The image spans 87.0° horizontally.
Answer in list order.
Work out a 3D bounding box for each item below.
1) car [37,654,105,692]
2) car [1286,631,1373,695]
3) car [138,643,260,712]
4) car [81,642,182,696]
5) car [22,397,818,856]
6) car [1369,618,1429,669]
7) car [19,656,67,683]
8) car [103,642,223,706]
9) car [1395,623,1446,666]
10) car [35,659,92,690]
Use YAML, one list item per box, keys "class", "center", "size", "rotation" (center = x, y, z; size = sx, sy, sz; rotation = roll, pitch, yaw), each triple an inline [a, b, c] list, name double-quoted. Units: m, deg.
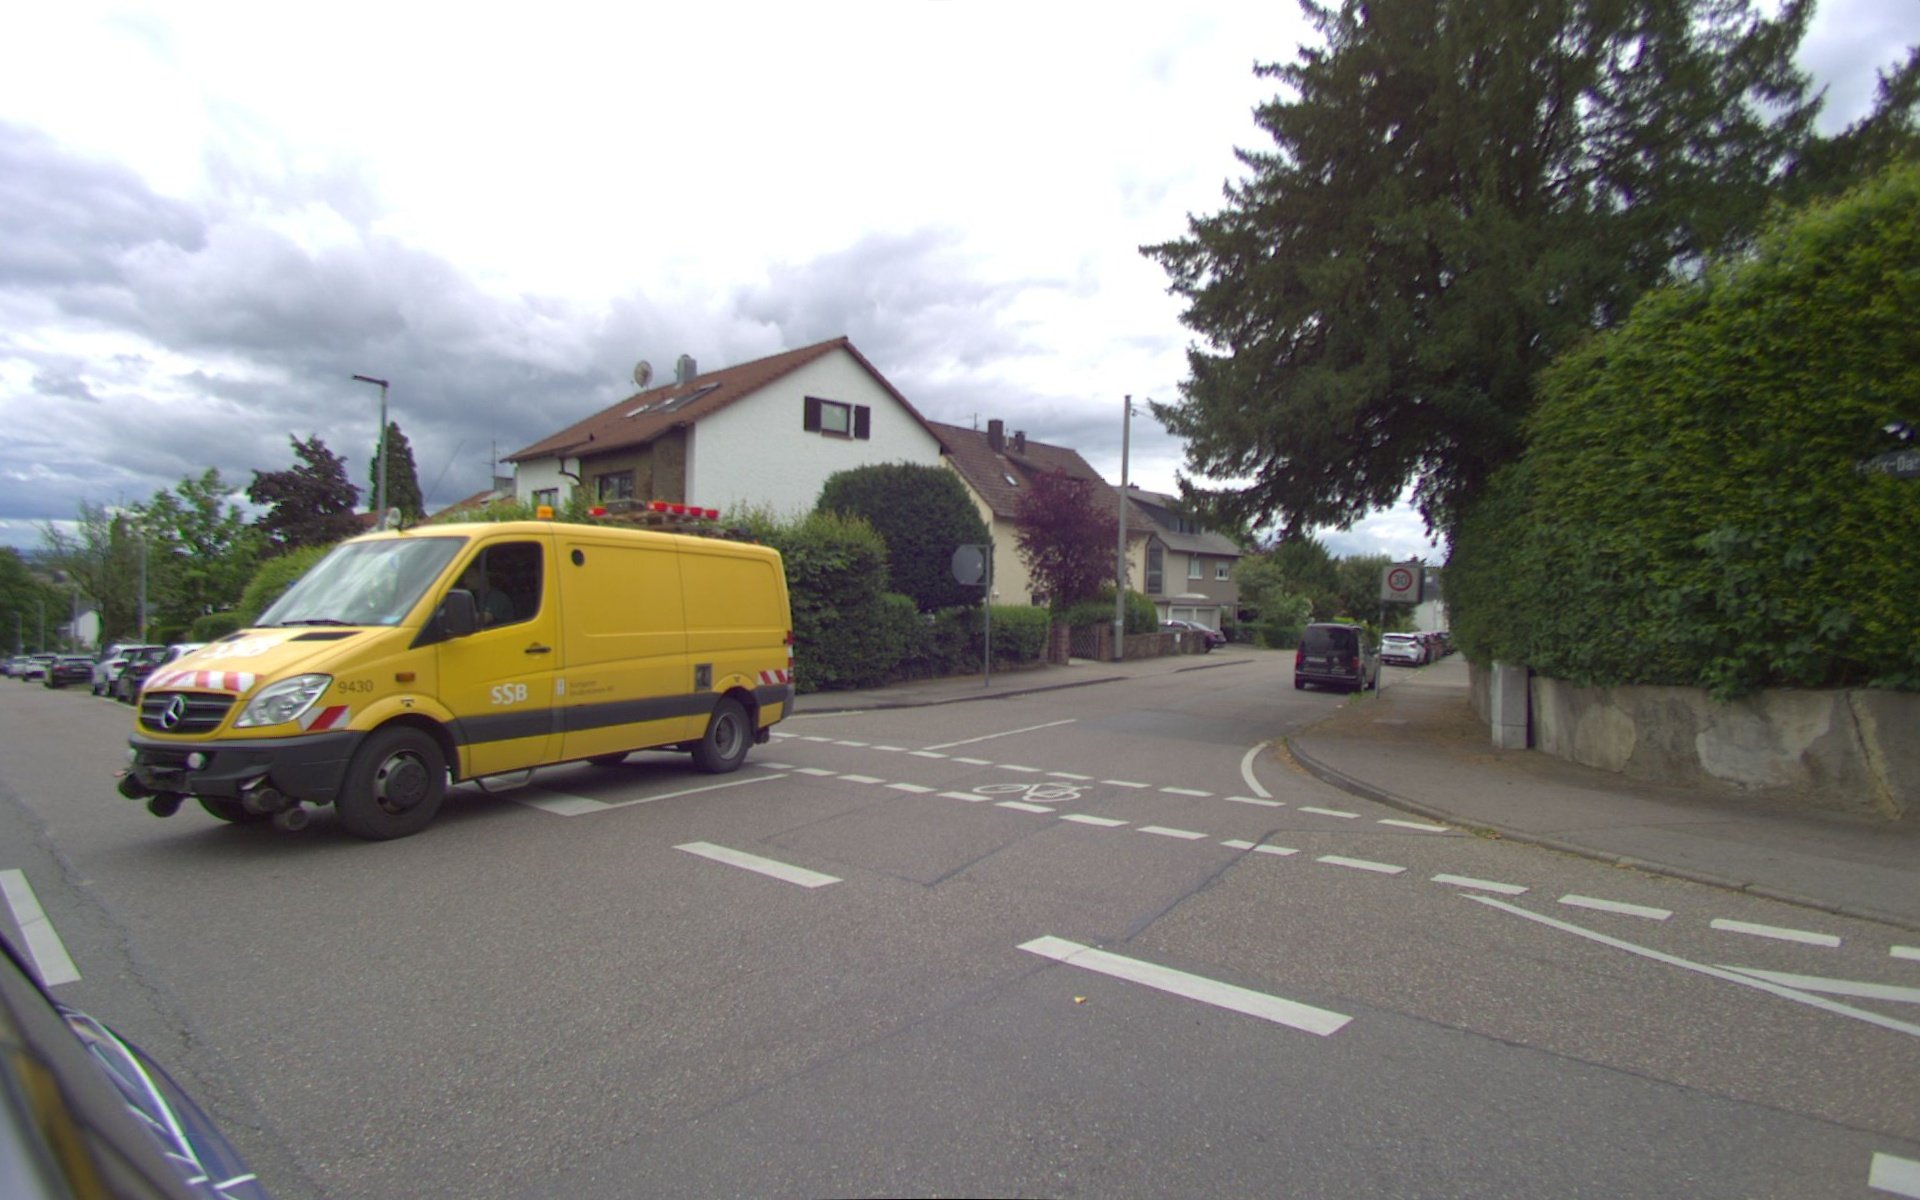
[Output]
- class: "car"
  center: [-38.813, 3.154, 44.169]
  size: [4.007, 1.561, 1.918]
  rotation: [-4, -4, 44]
- class: "car"
  center: [10.306, 1.718, 28.052]
  size: [1.817, 1.637, 4.045]
  rotation: [-2, -3, 26]
- class: "car"
  center: [-17.114, 1.714, 22.706]
  size: [1.670, 1.430, 3.581]
  rotation: [4, -5, -45]
- class: "car"
  center: [-25.010, 2.052, 30.500]
  size: [4.343, 1.501, 1.865]
  rotation: [-4, -4, 44]
- class: "car"
  center: [-3.933, 0.278, 9.049]
  size: [2.354, 2.621, 6.091]
  rotation: [-2, -3, 25]
- class: "car"
  center: [20.002, 1.943, 46.051]
  size: [1.883, 2.029, 3.957]
  rotation: [-3, 0, 31]
- class: "car"
  center: [-55.115, 4.145, 60.783]
  size: [4.002, 1.542, 1.908]
  rotation: [-3, -4, 45]
- class: "car"
  center: [-20.625, 1.873, 26.110]
  size: [4.740, 1.501, 1.761]
  rotation: [-3, -6, 45]
- class: "car"
  center: [24.810, 2.358, 54.441]
  size: [1.957, 2.029, 4.048]
  rotation: [-3, 0, 31]
- class: "car"
  center: [-42.350, 3.489, 47.779]
  size: [4.001, 1.386, 1.701]
  rotation: [-4, -4, 44]
